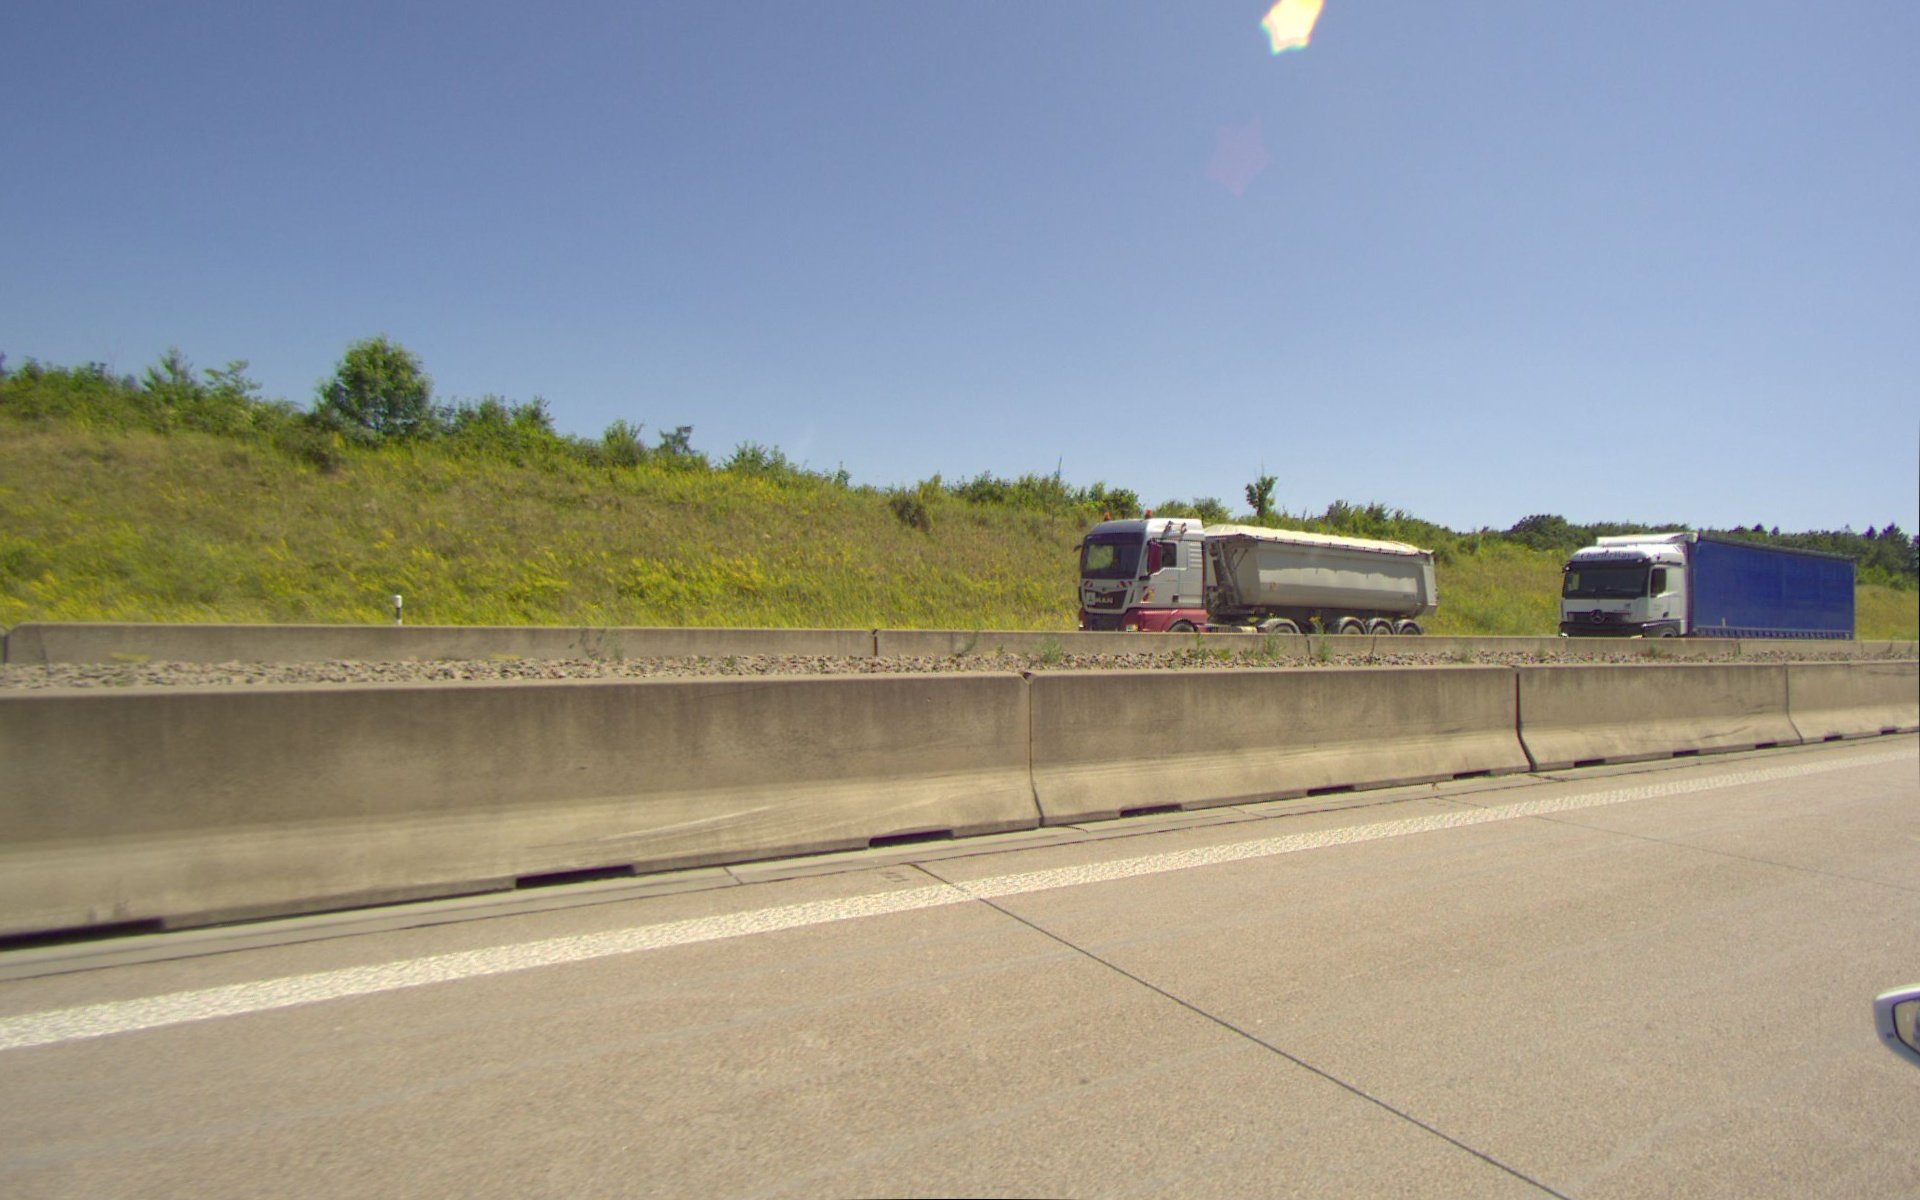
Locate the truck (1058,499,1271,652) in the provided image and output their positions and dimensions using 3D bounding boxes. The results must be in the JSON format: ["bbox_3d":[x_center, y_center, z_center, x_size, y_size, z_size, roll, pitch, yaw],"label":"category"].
[{"bbox_3d":[5.151,-0.558,25.324,4.460,3.459,2.711,2,2,-31],"label":"truck"}]

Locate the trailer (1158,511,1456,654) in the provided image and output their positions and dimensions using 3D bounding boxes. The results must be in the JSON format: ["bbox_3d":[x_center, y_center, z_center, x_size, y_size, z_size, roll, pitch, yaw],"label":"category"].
[{"bbox_3d":[9.890,-0.369,28.186,8.853,3.459,2.711,2,1,-31],"label":"trailer"}]

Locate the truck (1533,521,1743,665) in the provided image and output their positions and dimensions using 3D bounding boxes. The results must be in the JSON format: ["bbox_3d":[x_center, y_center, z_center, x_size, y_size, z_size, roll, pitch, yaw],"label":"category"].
[{"bbox_3d":[20.769,-0.166,30.750,5.773,3.985,3.143,2,2,-33],"label":"truck"}]

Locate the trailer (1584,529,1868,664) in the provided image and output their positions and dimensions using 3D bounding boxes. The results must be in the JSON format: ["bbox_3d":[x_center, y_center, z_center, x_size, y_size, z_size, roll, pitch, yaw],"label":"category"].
[{"bbox_3d":[26.720,0.057,34.607,13.717,3.985,3.143,2,2,-33],"label":"trailer"}]
